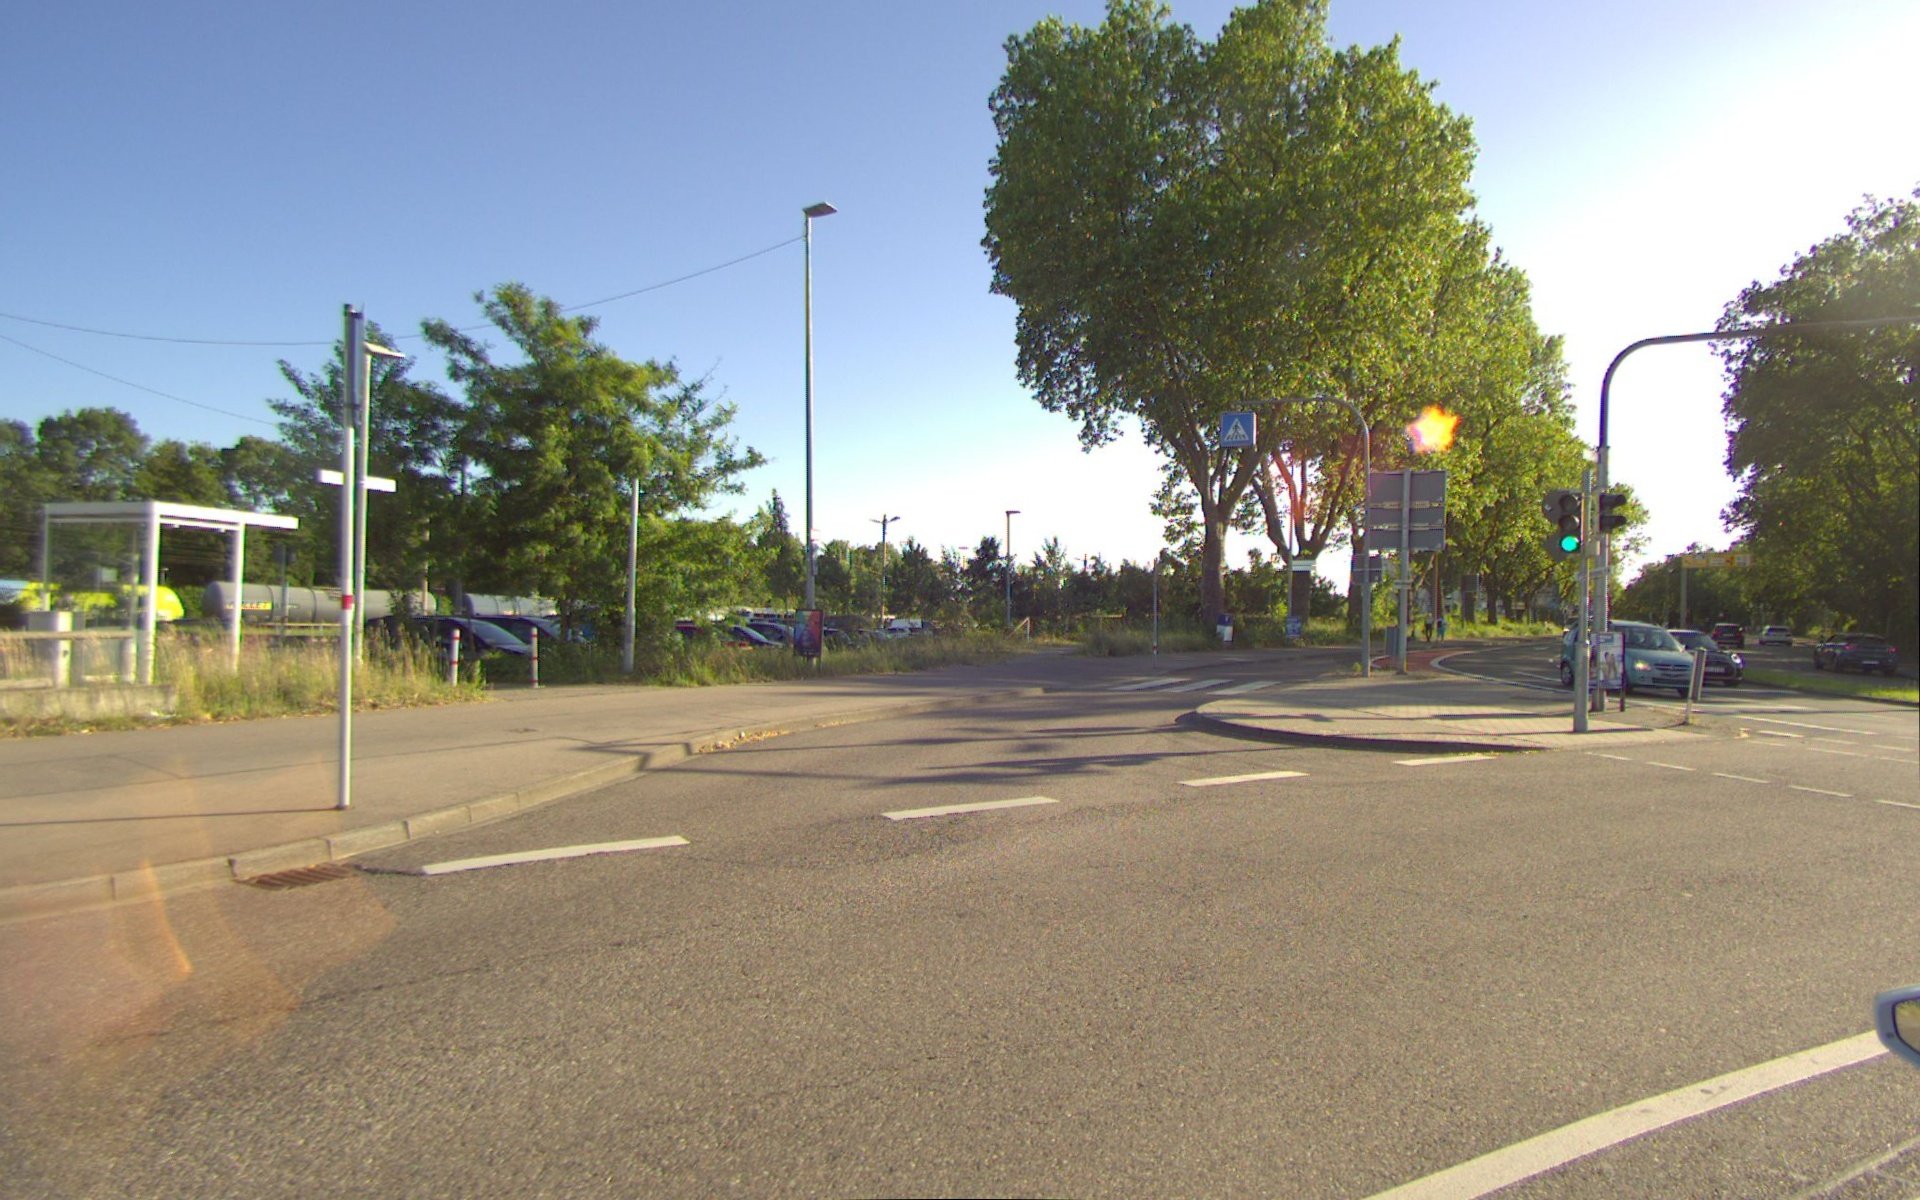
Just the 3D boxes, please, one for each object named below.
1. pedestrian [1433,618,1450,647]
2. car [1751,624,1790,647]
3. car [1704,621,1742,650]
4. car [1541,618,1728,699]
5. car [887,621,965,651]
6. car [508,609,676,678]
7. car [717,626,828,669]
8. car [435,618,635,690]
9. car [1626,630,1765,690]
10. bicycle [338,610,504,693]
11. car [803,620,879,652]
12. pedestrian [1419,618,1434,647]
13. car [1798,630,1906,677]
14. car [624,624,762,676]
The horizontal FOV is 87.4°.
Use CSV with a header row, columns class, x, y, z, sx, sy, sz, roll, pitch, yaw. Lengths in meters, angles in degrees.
class,x,y,z,sx,sy,sz,roll,pitch,yaw
pedestrian,27.403,1.849,57.142,0.719,1.613,0.801,1,0,38
car,61.195,2.661,75.904,1.828,1.672,4.255,1,-1,33
car,50.203,2.337,66.058,1.831,1.766,4.247,1,-1,39
car,15.840,1.309,23.878,1.882,1.657,4.123,2,0,5
car,-2.277,2.371,66.623,4.879,1.788,1.994,1,-1,35
car,-10.045,1.152,27.578,3.773,1.687,2.015,2,0,10
car,-7.416,1.836,39.684,3.928,1.494,1.997,1,0,29
car,-10.081,1.233,23.981,3.919,1.500,1.965,2,0,10
car,20.609,1.627,28.336,1.870,1.446,3.938,2,0,16
bicycle,-11.139,1.078,20.908,2.913,1.637,0.901,2,0,-22
car,-6.973,2.092,58.873,4.086,1.728,1.973,1,-1,34
pedestrian,26.786,1.855,57.693,0.655,1.607,0.629,1,0,38
car,36.454,2.133,41.204,1.910,1.736,4.200,2,-1,21
car,-8.610,1.585,32.451,3.919,1.479,1.730,2,0,16
